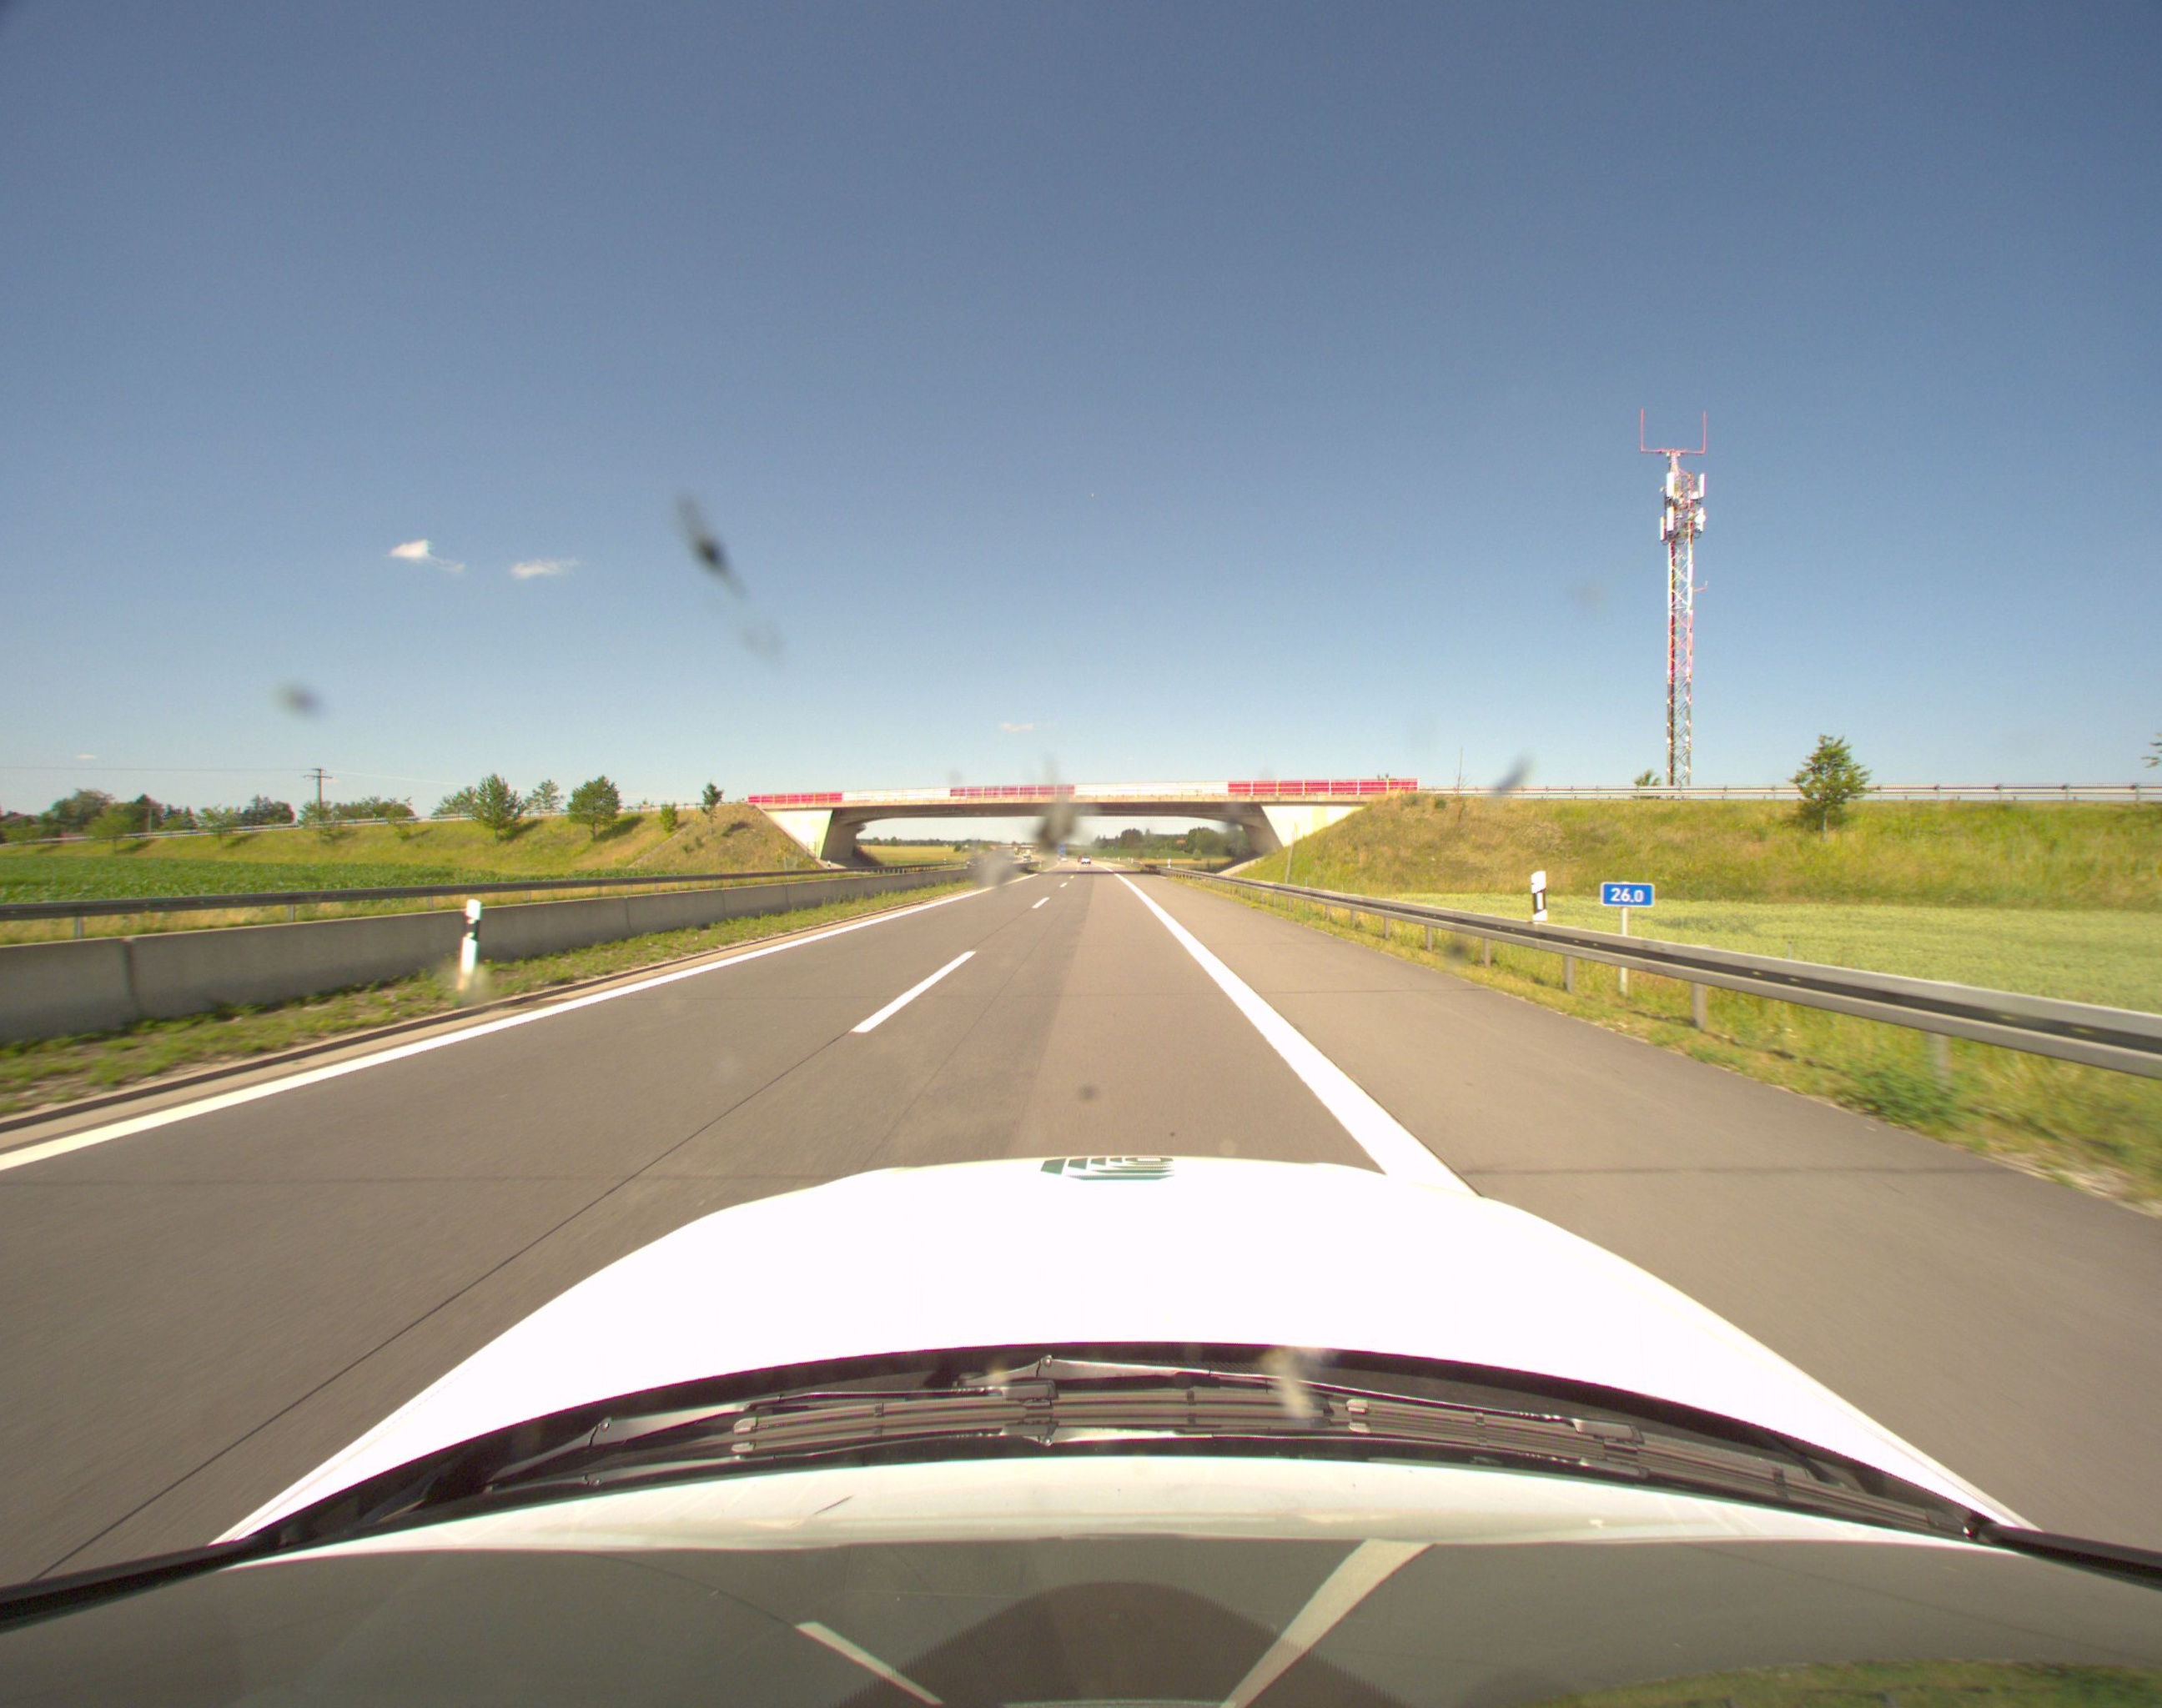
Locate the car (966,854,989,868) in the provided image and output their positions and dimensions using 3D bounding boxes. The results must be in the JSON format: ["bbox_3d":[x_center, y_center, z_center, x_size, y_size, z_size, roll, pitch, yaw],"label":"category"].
[{"bbox_3d":[-12.961,0.848,102.218,1.987,1.731,5.588,0,0,1],"label":"car"}]

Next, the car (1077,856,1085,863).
[{"bbox_3d":[0.038,1.457,211.638,1.987,1.731,4.867,0,0,-1],"label":"car"}]

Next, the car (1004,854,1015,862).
[{"bbox_3d":[-14.023,0.833,160.304,1.849,1.460,4.194,0,0,0],"label":"car"}]

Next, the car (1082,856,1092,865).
[{"bbox_3d":[1.206,1.216,160.137,1.987,1.731,4.870,0,0,1],"label":"car"}]

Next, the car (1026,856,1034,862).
[{"bbox_3d":[-14.406,1.356,229.560,1.987,1.579,4.895,1,-1,0],"label":"car"}]

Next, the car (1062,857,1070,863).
[{"bbox_3d":[-4.070,1.586,223.876,1.987,1.731,4.867,0,0,-1],"label":"car"}]
